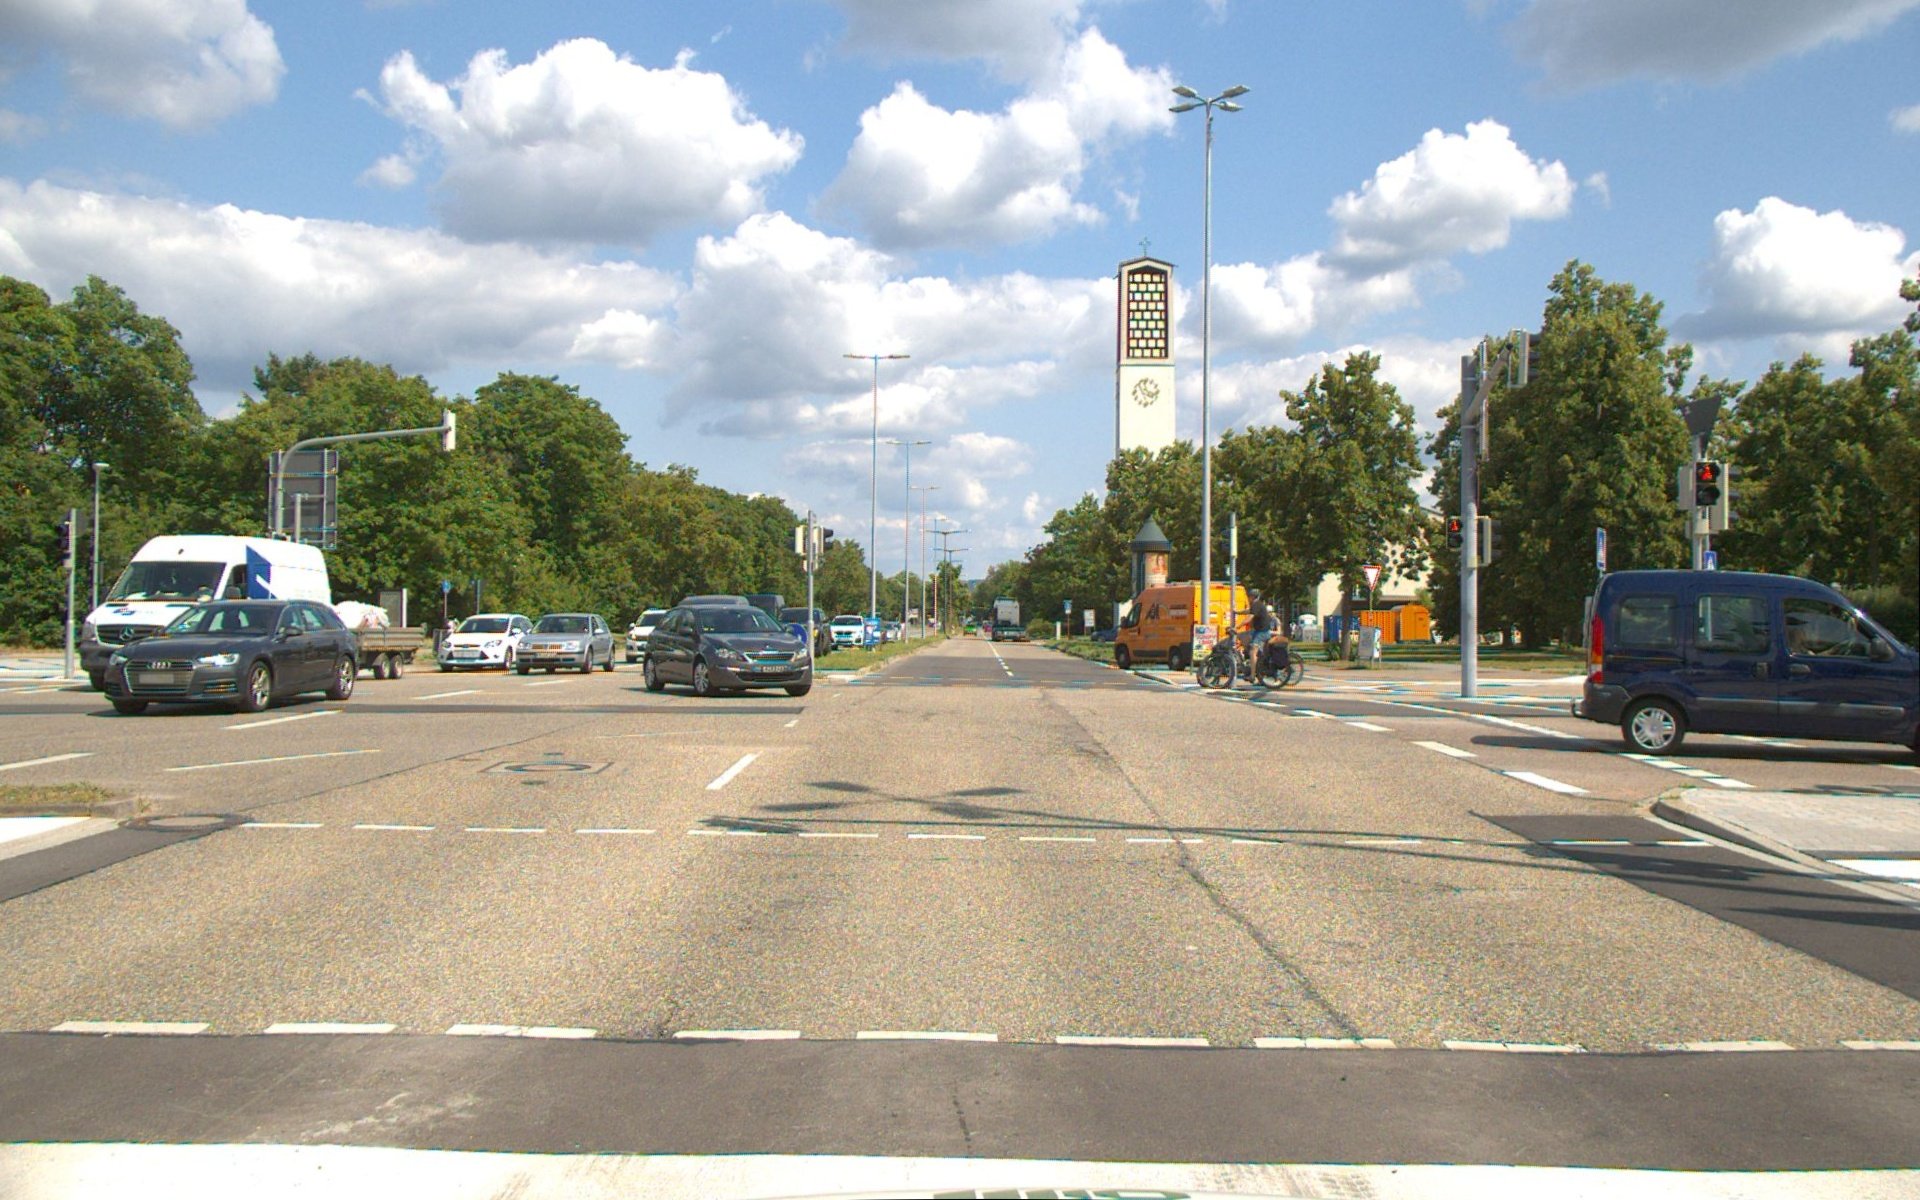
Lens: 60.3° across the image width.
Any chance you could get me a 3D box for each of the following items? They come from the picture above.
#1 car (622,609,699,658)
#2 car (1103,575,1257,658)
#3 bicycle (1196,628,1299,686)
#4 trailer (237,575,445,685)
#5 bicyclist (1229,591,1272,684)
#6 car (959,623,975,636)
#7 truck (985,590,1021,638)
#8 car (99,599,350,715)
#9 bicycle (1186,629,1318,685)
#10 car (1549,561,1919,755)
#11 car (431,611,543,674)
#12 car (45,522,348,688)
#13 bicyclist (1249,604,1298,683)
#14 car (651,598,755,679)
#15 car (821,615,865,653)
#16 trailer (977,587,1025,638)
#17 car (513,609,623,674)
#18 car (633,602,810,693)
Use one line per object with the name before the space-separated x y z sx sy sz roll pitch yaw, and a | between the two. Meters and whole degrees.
car | -9.386 1.040 52.068 1.690 1.422 3.999 2 -1 -1
car | 6.419 0.467 48.890 2.177 2.265 4.819 3 -1 -26
bicycle | 5.751 1.140 33.156 1.955 1.113 0.686 1 -1 4
trailer | -12.739 0.620 34.468 2.080 2.049 5.163 2 -1 3
bicyclist | 5.826 0.746 33.154 0.770 1.836 0.686 1 -1 4
car | 0.867 3.796 212.613 1.953 1.579 3.999 2 -1 -1
truck | 3.875 1.310 146.665 2.897 4.040 8.640 1 -1 3
car | -9.500 0.717 21.667 1.728 1.375 3.518 1 -1 -1
bicycle | 6.138 1.196 34.697 2.796 1.131 0.791 1 0 -25
car | 8.026 0.553 16.211 4.132 1.689 1.740 2 -1 23
car | -12.597 1.108 44.299 1.820 1.539 3.999 2 -1 -1
car | -13.057 0.129 28.868 2.128 2.514 5.969 2 -1 3
bicyclist | 6.608 0.907 34.918 0.689 1.644 0.791 1 -1 -24
car | -5.848 0.837 38.116 1.699 1.689 4.230 2 0 -1
car | -5.536 1.608 78.697 1.699 1.689 4.230 2 -1 0
trailer | 3.521 1.139 139.274 3.544 4.082 11.322 1 -1 3
car | -9.360 0.973 39.813 1.690 1.422 3.999 2 -1 -1
car | -3.884 0.800 26.579 1.553 1.339 3.393 3 -4 -32
